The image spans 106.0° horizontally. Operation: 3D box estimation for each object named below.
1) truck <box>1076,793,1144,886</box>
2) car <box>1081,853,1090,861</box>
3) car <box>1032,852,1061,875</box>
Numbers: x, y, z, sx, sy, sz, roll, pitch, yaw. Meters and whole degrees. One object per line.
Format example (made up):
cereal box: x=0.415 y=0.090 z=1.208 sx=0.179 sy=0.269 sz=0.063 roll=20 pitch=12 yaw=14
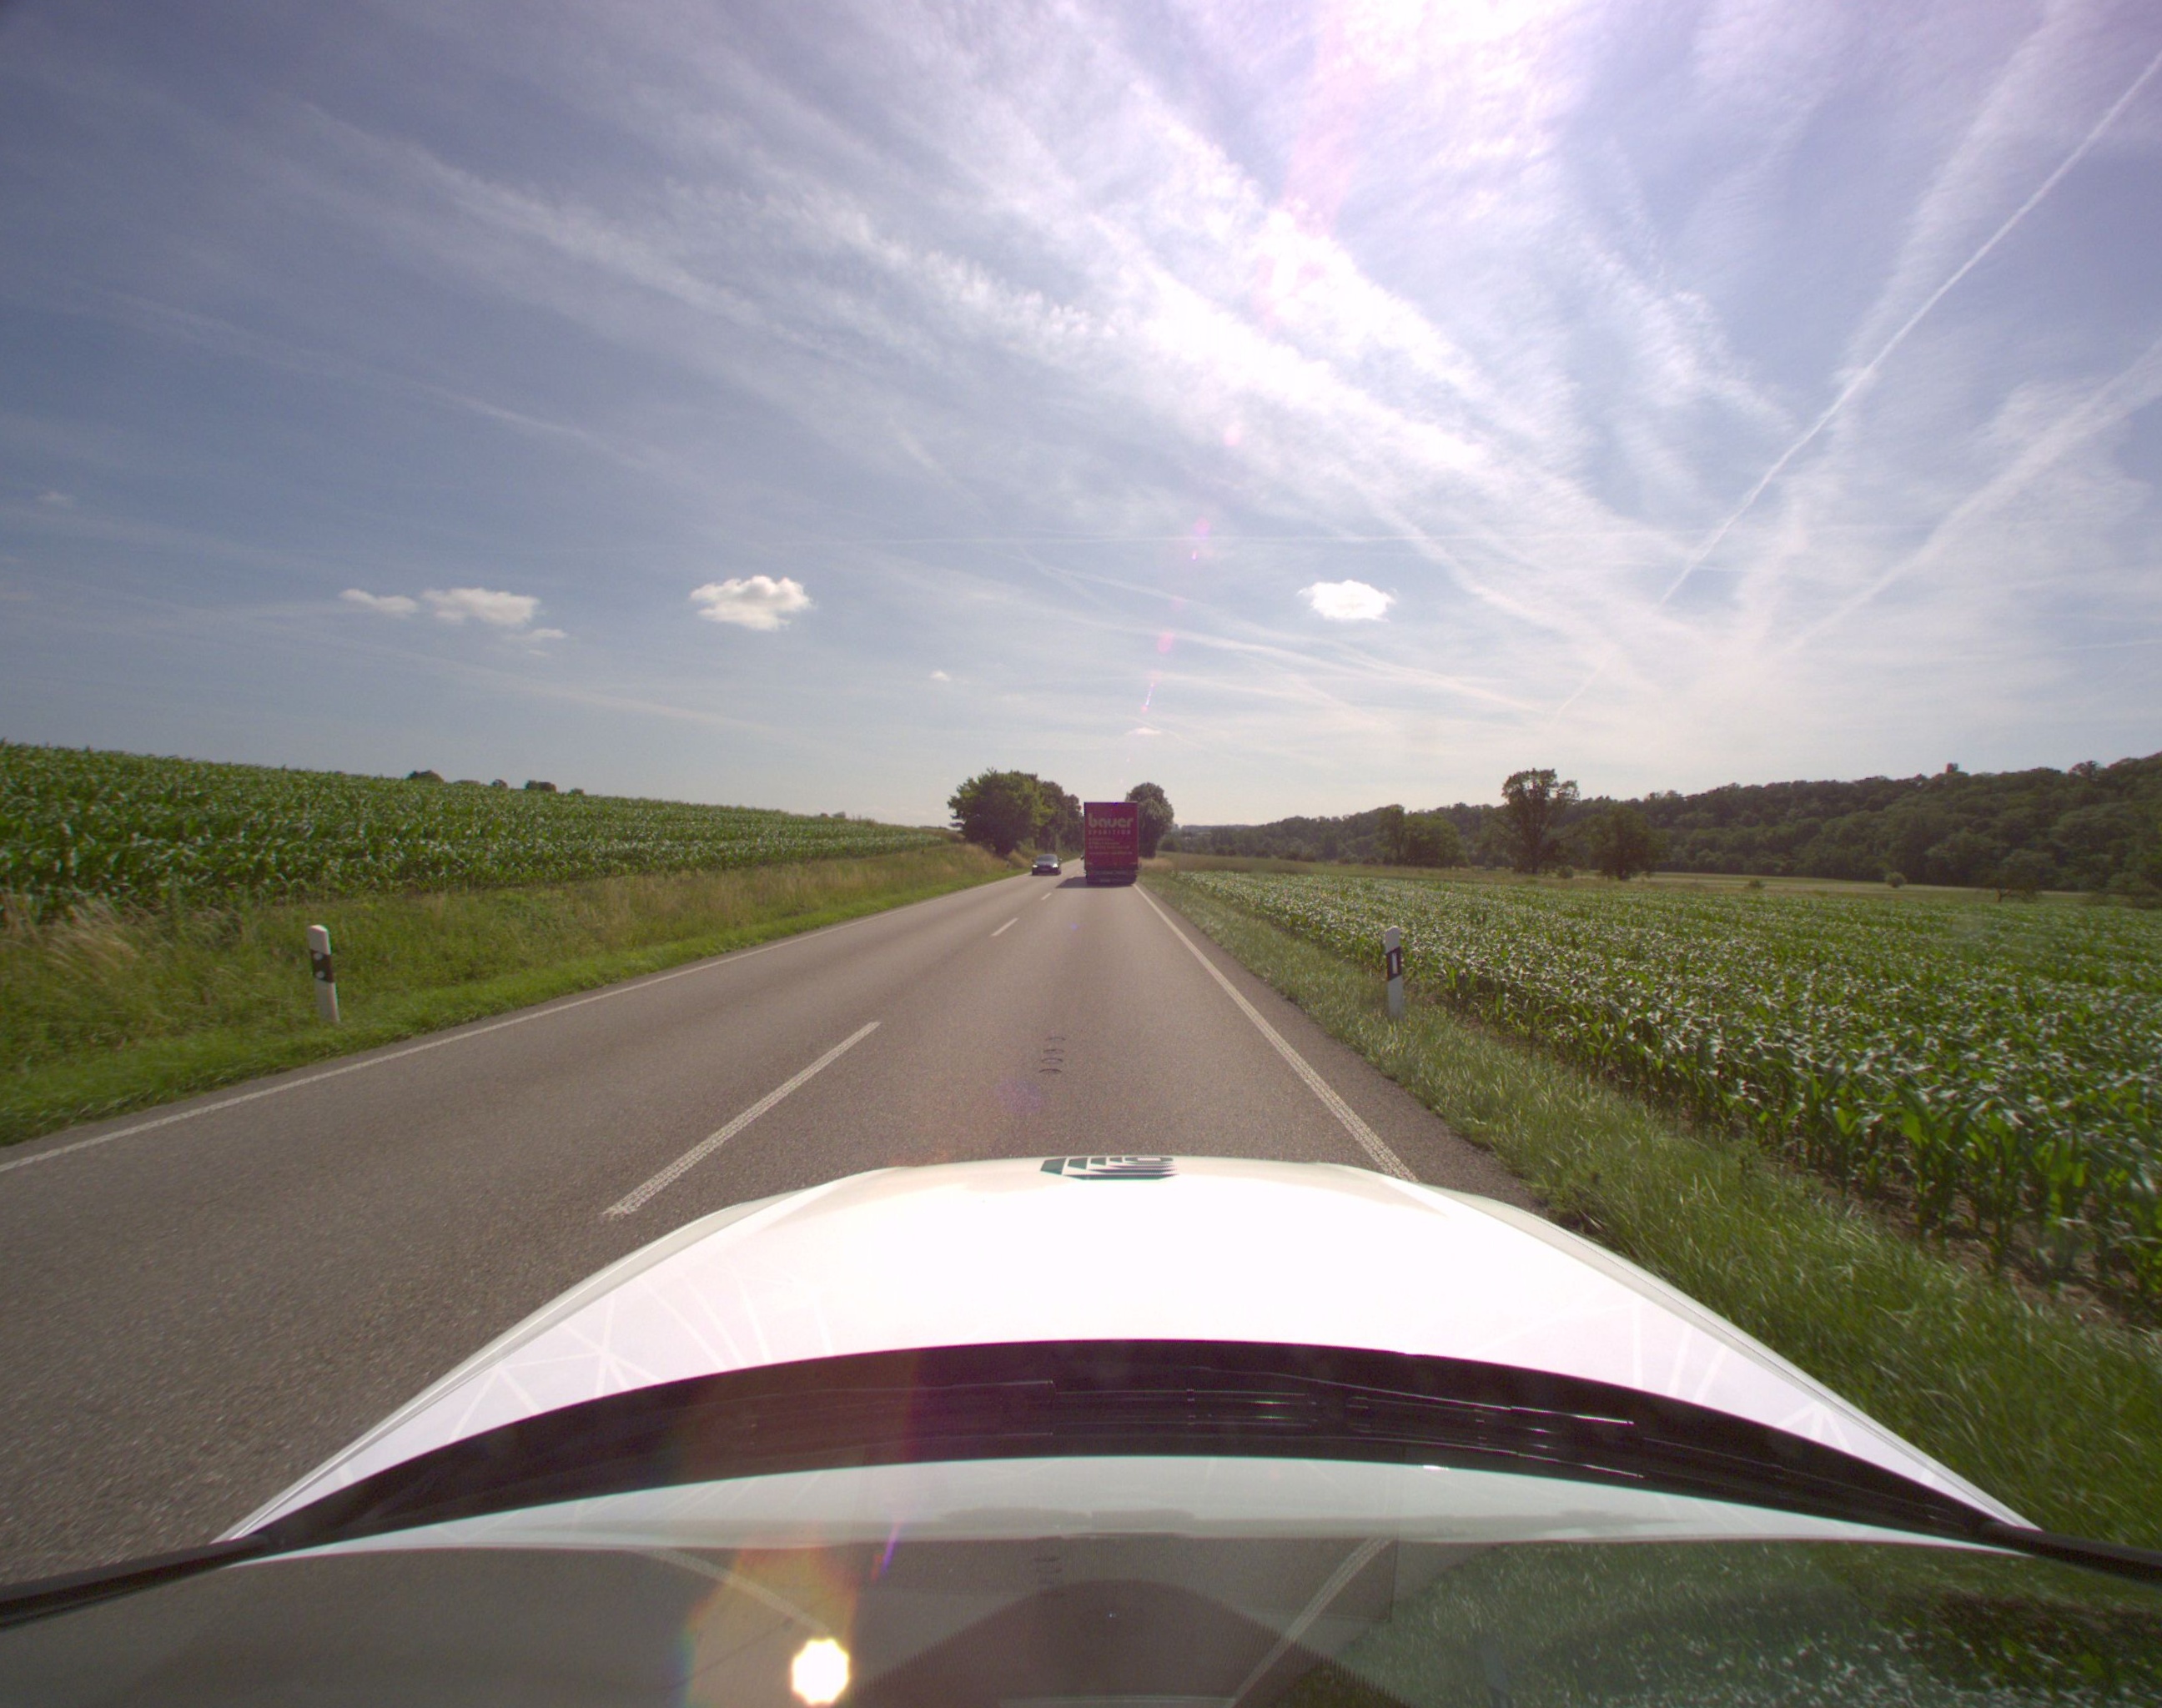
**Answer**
truck: x=1.613 y=-0.635 z=42.048 sx=3.081 sy=4.263 sz=8.321 roll=-1 pitch=-1 yaw=3
car: x=0.843 y=0.556 z=158.640 sx=1.650 sy=1.534 sz=4.360 roll=0 pitch=0 yaw=2
car: x=-2.383 y=0.633 z=57.168 sx=1.667 sy=1.457 sz=4.352 roll=-1 pitch=0 yaw=2
